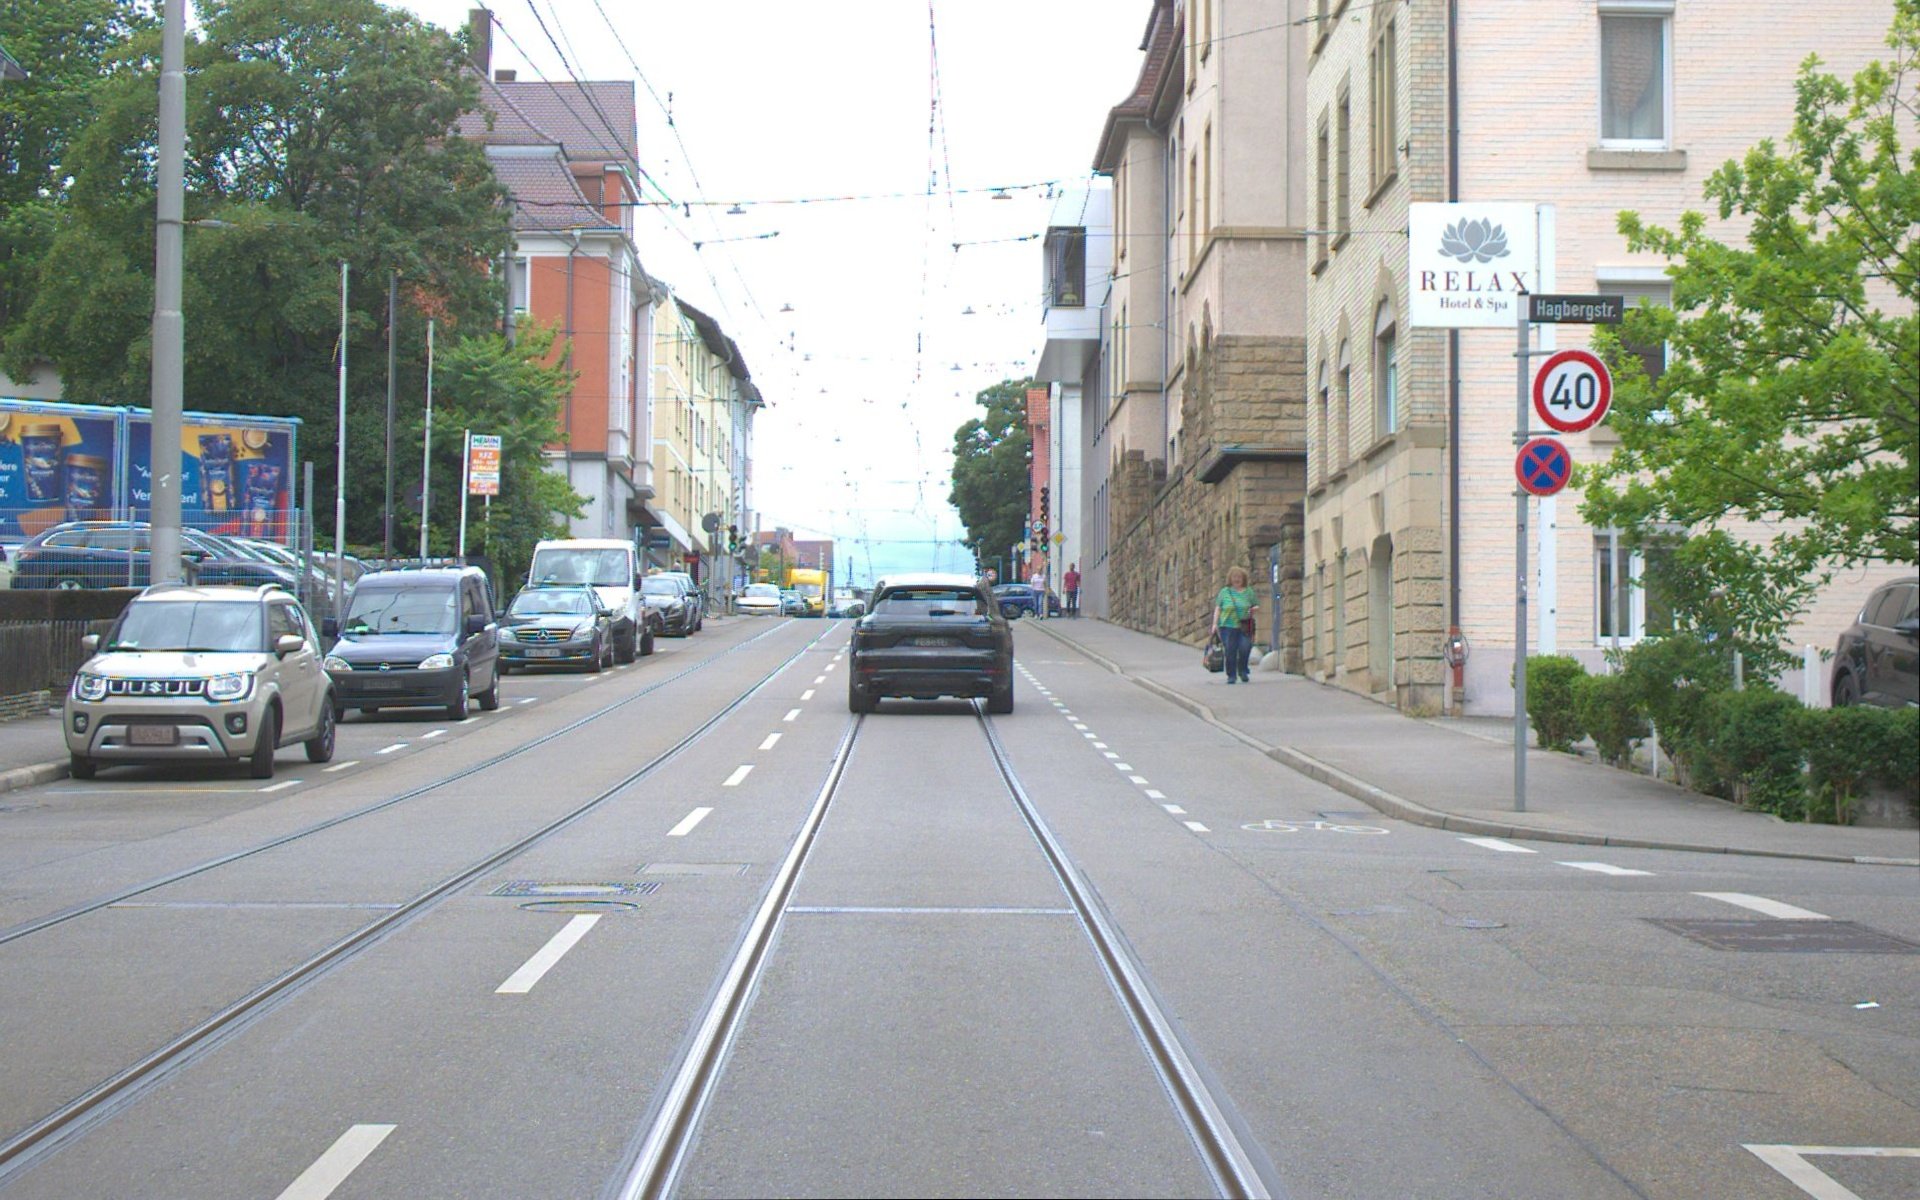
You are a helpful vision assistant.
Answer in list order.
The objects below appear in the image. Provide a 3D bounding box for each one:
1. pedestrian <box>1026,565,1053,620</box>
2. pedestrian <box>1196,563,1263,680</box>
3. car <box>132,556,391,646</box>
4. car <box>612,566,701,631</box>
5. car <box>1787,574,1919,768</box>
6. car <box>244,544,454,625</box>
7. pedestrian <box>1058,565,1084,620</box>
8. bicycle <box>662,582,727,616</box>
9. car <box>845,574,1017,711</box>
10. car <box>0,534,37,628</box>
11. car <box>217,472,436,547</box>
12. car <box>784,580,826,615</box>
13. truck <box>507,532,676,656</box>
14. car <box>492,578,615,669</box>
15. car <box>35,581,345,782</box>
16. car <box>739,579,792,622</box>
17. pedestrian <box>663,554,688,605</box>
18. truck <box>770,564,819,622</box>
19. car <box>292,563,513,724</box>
[{"bbox_3d":[2.465,-0.234,106.489,0.791,1.661,0.798,1,0,2],"label":"pedestrian"},{"bbox_3d":[3.935,0.310,50.156,0.870,1.680,0.663,-1,0,-2],"label":"pedestrian"},{"bbox_3d":[-11.825,0.005,58.350,4.060,1.440,1.688,1,1,-1],"label":"car"},{"bbox_3d":[-7.063,-0.059,80.312,1.712,1.441,4.290,1,1,0],"label":"car"},{"bbox_3d":[9.291,0.628,31.441,1.993,1.677,5.095,1,0,-2],"label":"car"},{"bbox_3d":[-12.183,-0.316,68.477,3.958,1.546,1.689,1,1,-15],"label":"car"},{"bbox_3d":[3.428,-0.232,106.421,0.791,1.661,0.798,1,0,2],"label":"pedestrian"},{"bbox_3d":[-8.027,-0.035,103.794,1.911,0.996,0.479,1,0,0],"label":"bicycle"},{"bbox_3d":[-0.347,0.485,42.368,1.993,1.558,4.290,1,1,0],"label":"car"},{"bbox_3d":[-16.136,-0.318,54.960,1.682,1.489,3.889,1,1,0],"label":"car"},{"bbox_3d":[-12.097,-1.724,65.751,3.876,1.352,1.688,1,1,-1],"label":"car"},{"bbox_3d":[-7.477,-0.140,165.998,1.855,1.601,4.297,1,1,-1],"label":"car"},{"bbox_3d":[-6.919,-0.146,65.414,2.280,2.180,8.025,1,1,0],"label":"truck"},{"bbox_3d":[-6.864,0.376,58.456,1.697,1.428,4.482,-1,1,-2],"label":"car"},{"bbox_3d":[-6.435,0.635,29.116,1.697,1.551,3.850,1,1,1],"label":"car"},{"bbox_3d":[-7.543,0.011,133.439,1.855,1.601,4.297,1,1,-1],"label":"car"},{"bbox_3d":[-9.816,-0.705,118.737,0.775,1.770,0.650,1,0,1],"label":"pedestrian"},{"bbox_3d":[-8.921,-0.385,186.316,2.302,3.026,9.034,1,0,-1],"label":"truck"},{"bbox_3d":[-6.423,0.453,40.054,1.744,1.730,4.519,-1,1,1],"label":"car"}]
